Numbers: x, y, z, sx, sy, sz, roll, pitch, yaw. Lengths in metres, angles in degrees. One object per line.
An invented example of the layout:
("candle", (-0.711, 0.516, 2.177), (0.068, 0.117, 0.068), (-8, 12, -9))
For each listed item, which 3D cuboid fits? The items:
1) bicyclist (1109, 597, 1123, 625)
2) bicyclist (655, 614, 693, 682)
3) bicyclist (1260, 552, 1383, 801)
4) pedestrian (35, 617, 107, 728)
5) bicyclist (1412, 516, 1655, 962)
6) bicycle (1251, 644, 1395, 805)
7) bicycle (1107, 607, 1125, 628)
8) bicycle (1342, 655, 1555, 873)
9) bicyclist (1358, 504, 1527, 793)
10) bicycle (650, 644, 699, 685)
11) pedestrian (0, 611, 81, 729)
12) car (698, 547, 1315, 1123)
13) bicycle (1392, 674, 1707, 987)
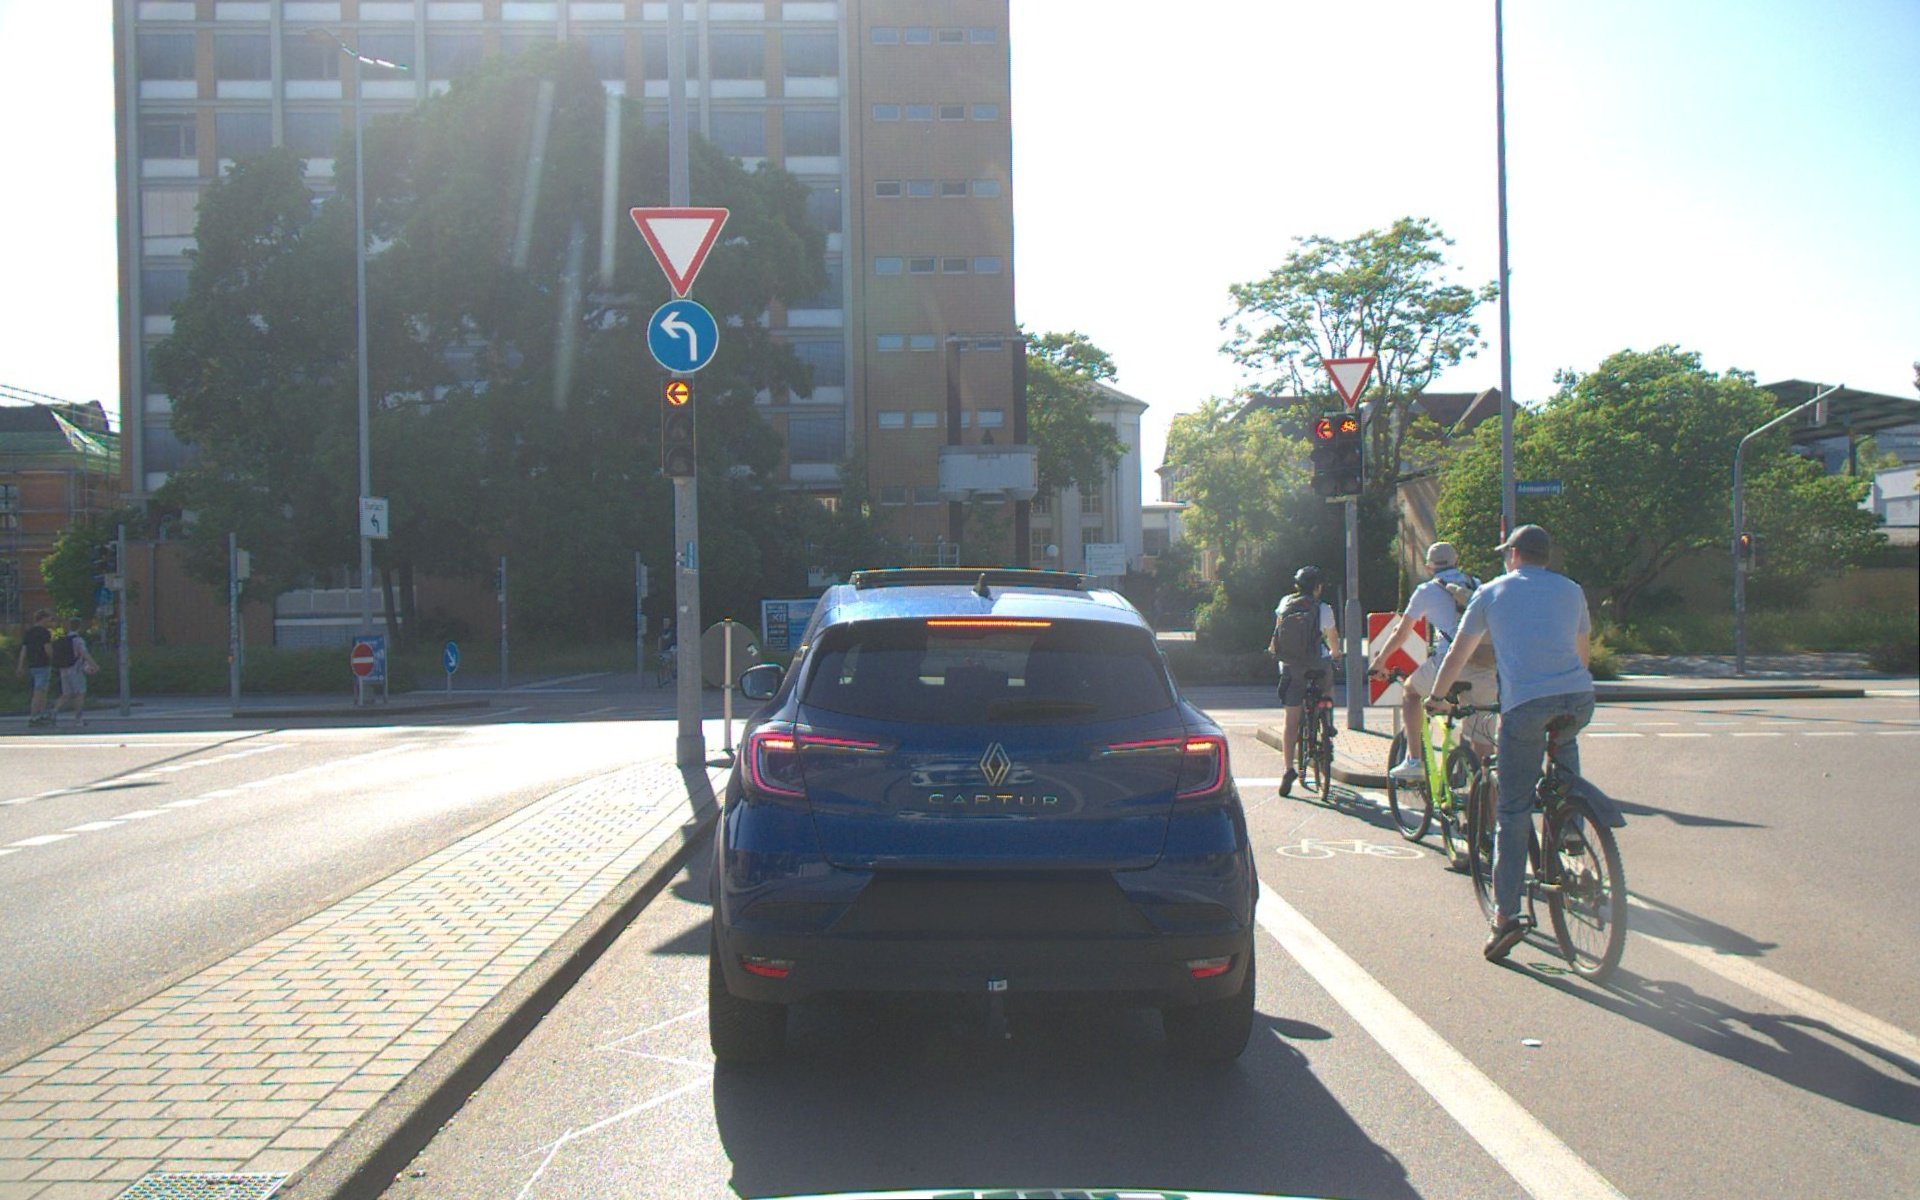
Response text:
("bicyclist", (8.580, 0.607, 90.925), (0.680, 1.507, 0.717), (-1, 0, -3))
("bicyclist", (-7.552, 1.257, 43.663), (0.739, 1.746, 0.999), (-1, 0, 5))
("bicyclist", (2.757, 0.561, 12.718), (0.685, 1.822, 1.142), (0, 0, -1))
("pedestrian", (-14.342, 1.159, 26.693), (0.666, 1.761, 0.761), (-1, 0, 13))
("bicyclist", (2.502, 0.569, 7.335), (0.669, 1.822, 1.142), (0, 0, -1))
("bicycle", (2.774, 0.919, 12.829), (0.675, 1.108, 1.922), (0, 0, -1))
("bicycle", (8.582, 0.951, 91.107), (0.680, 1.160, 2.440), (-1, 0, -1))
("bicycle", (2.844, 0.911, 9.840), (0.675, 1.108, 1.922), (0, 0, -1))
("bicyclist", (2.847, 0.276, 9.863), (0.664, 1.622, 1.142), (0, 0, -1))
("bicycle", (-7.534, 1.699, 43.767), (0.739, 1.002, 2.095), (-1, 0, 5))
("pedestrian", (-15.099, 1.134, 27.105), (0.796, 1.895, 0.910), (-1, 0, 13))
("car", (0.052, 0.663, 6.642), (1.753, 1.613, 3.912), (0, 0, -3))
("bicycle", (2.496, 0.920, 7.258), (0.675, 1.108, 1.922), (0, 0, -1))
